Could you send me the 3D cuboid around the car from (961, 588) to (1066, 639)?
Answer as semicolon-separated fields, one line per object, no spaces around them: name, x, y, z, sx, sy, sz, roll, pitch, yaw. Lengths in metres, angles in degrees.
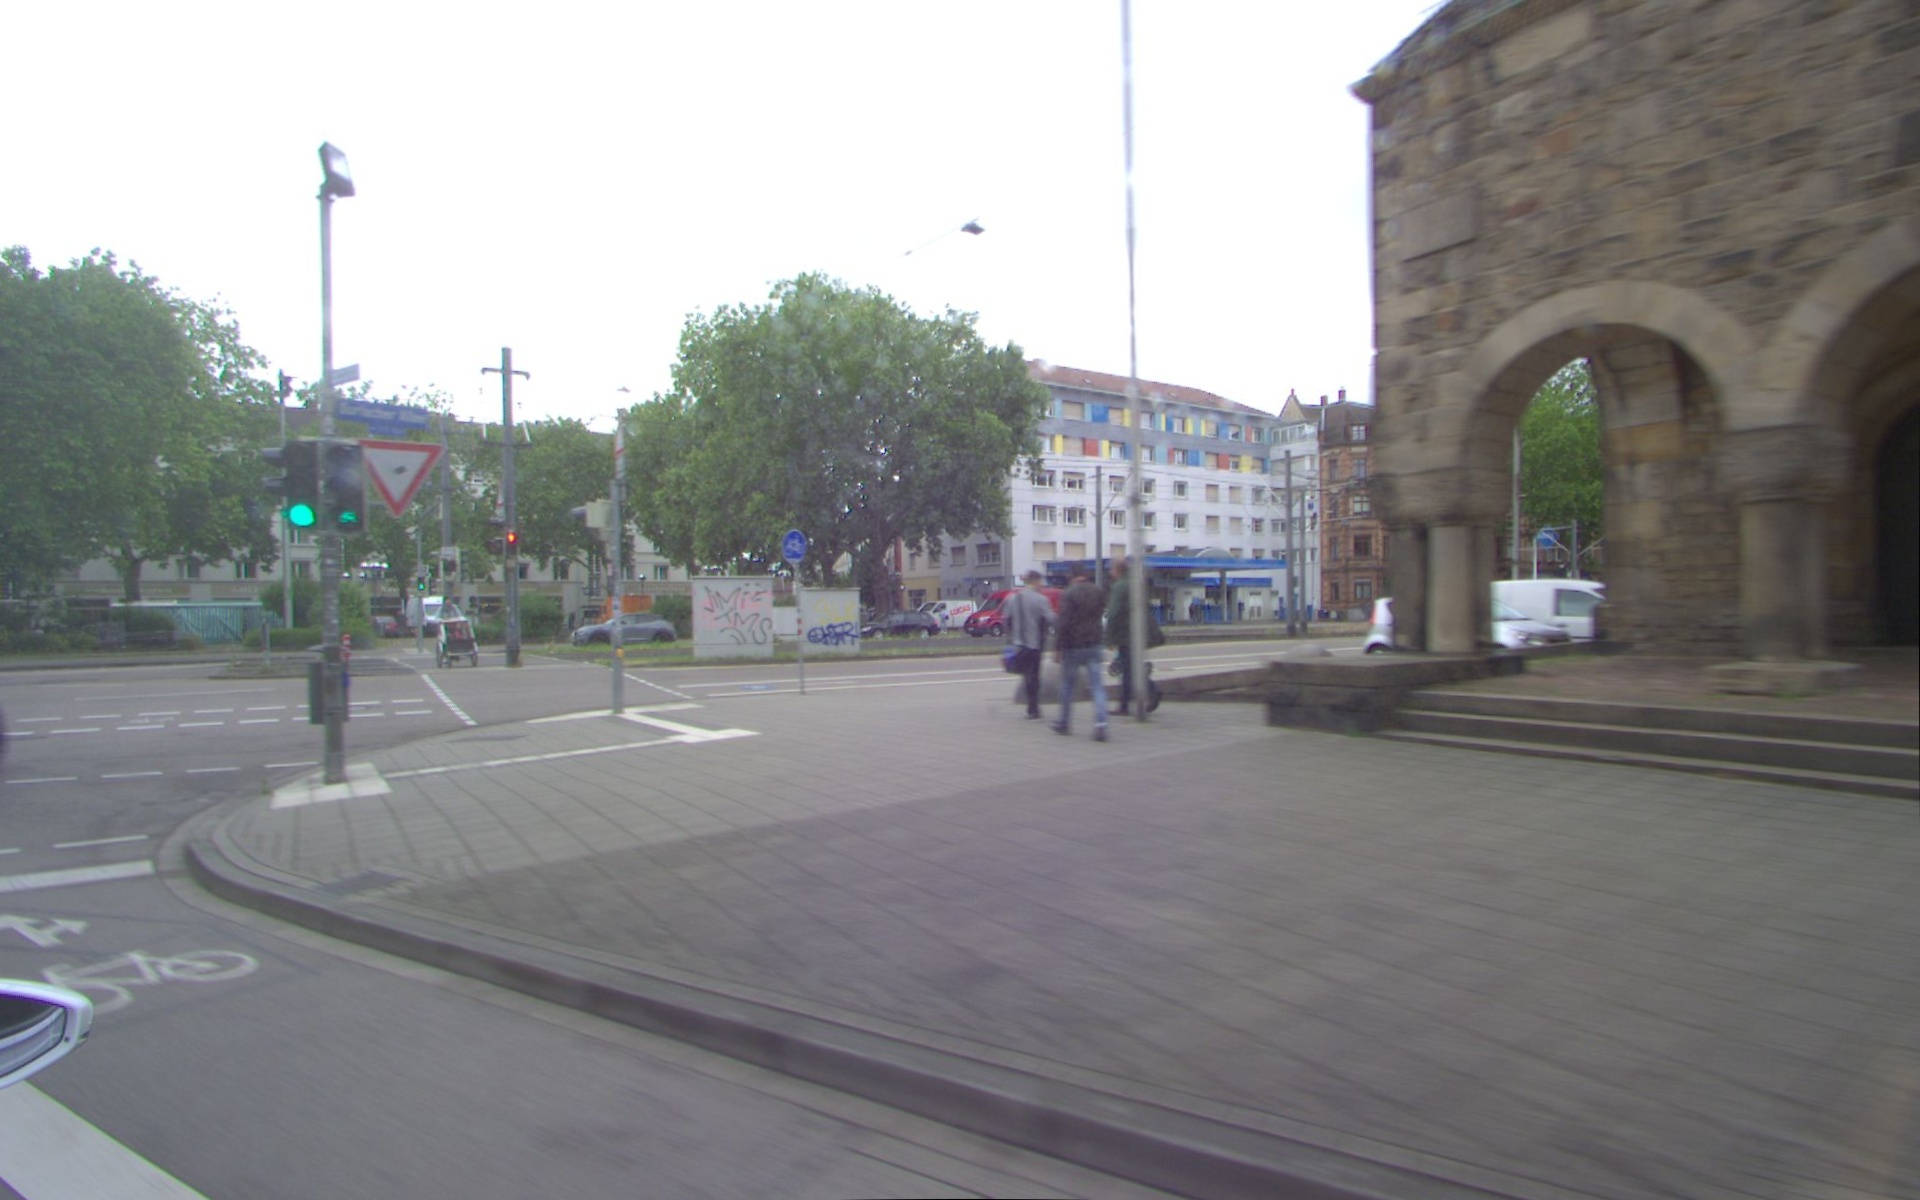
car;2.873;0.691;53.102;5.538;2.572;1.980;-1;0;-35

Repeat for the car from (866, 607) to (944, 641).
car;-2.684;1.151;49.136;3.422;1.582;1.676;-1;0;-35

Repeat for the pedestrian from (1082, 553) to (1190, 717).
pedestrian;2.010;0.372;11.394;0.955;1.783;0.802;0;3;33

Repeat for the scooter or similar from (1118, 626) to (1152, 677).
scooter or similar;3.784;1.111;21.674;0.762;1.067;0.238;-1;0;-32

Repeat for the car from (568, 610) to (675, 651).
car;-14.184;1.261;41.993;3.937;1.582;1.676;-1;0;-35

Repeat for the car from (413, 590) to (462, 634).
car;-33.209;0.753;63.574;2.212;2.674;5.413;-1;0;-33

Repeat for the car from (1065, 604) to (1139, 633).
car;8.072;1.015;56.741;4.095;1.550;1.676;-1;0;-35

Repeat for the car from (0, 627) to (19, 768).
car;-9.903;0.976;8.149;1.791;1.424;4.307;-1;0;-22

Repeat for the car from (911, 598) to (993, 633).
car;-0.501;0.997;64.727;5.021;2.123;1.980;-1;0;-35

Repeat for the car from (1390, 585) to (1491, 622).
car;37.967;0.275;79.205;6.970;2.764;2.247;-1;-1;-6

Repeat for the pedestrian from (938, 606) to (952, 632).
pedestrian;-0.907;1.137;60.121;0.564;1.591;0.705;-1;0;-34

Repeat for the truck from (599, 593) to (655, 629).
truck;-25.013;0.853;75.209;3.955;2.625;2.367;-1;0;42

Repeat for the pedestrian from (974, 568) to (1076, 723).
pedestrian;0.747;0.497;11.523;0.957;1.696;0.630;0;3;39

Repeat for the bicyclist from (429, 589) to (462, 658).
bicyclist;-12.710;0.568;24.730;0.608;1.676;0.749;-1;0;-36

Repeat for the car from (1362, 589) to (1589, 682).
car;9.467;0.618;18.625;1.595;1.550;3.449;-1;0;-31

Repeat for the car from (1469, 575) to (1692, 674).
car;12.389;0.476;20.176;1.663;1.816;3.448;-1;0;-31

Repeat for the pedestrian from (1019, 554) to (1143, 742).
pedestrian;1.165;0.430;9.623;0.955;1.709;0.672;0;3;33

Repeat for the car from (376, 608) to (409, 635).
car;-34.509;1.291;60.884;1.646;1.535;3.917;-1;0;-31

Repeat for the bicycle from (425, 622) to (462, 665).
bicycle;-12.847;1.052;24.869;0.546;1.009;2.047;-1;0;-35
